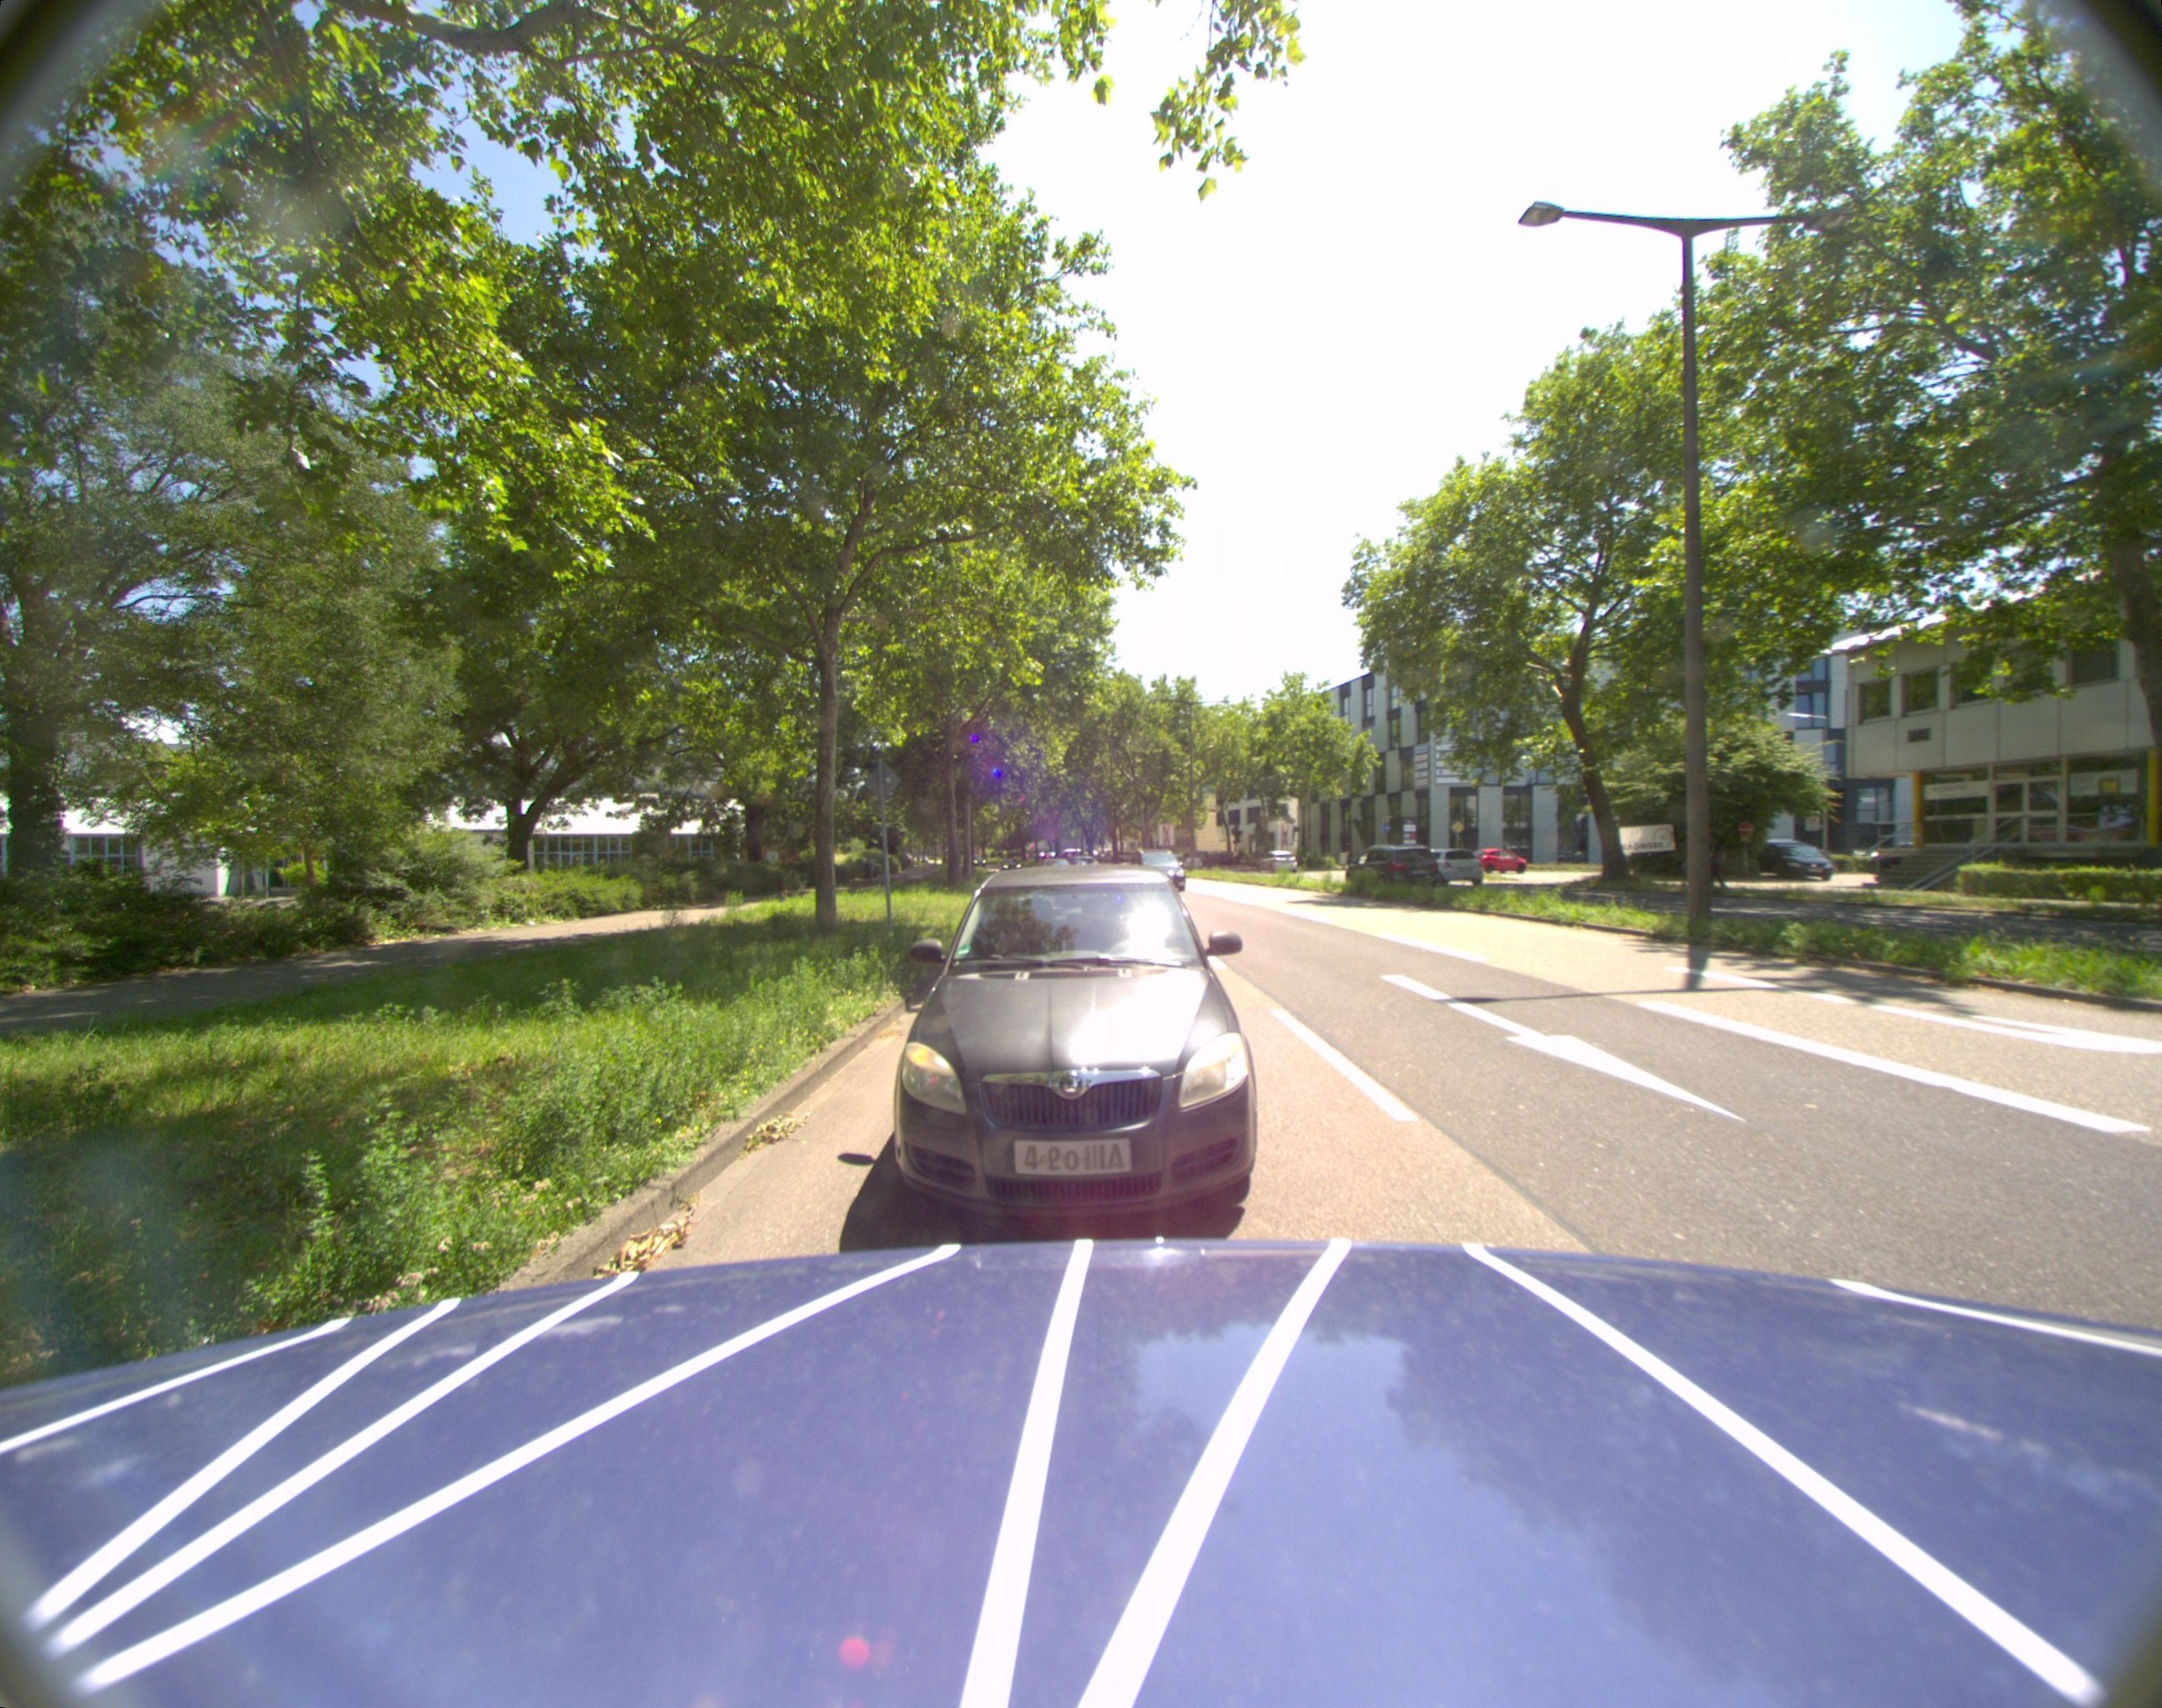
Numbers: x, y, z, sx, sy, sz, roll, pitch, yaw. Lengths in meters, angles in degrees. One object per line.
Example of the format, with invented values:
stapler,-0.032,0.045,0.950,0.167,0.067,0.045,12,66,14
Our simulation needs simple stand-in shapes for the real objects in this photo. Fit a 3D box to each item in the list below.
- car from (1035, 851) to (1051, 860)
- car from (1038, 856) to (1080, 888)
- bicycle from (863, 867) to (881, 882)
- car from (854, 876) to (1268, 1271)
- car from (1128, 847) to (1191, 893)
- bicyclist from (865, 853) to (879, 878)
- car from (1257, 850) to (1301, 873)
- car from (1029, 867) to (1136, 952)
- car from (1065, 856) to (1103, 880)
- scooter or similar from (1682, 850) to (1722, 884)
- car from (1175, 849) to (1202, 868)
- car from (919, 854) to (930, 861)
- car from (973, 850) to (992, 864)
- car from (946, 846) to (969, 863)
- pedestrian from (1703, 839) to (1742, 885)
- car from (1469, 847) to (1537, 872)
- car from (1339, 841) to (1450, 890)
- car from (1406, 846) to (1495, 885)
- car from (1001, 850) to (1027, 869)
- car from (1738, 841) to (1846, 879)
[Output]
car,-6.666,0.211,131.808,1.956,1.600,3.994,-1,0,-16
car,-1.044,0.845,37.398,1.878,1.448,3.786,-2,0,1
bicycle,-11.708,1.147,42.606,0.465,0.760,1.668,-1,0,1
car,-0.056,0.954,5.025,1.654,1.453,3.865,-1,0,1
car,3.186,0.625,31.749,1.859,1.745,4.647,-1,0,-3
bicyclist,-11.707,0.643,42.572,0.600,1.331,0.666,-1,1,0
car,13.222,0.483,50.861,1.756,1.435,3.671,-1,0,-4
car,0.054,0.972,14.793,1.791,1.325,3.742,-2,0,1
car,0.146,0.839,46.991,1.624,1.437,3.648,-1,0,-11
scooter or similar,21.847,0.450,26.735,0.680,1.157,0.859,-1,1,-3
car,8.783,0.328,62.248,1.537,1.519,2.853,-1,0,-5
car,-31.175,0.627,151.272,1.511,1.379,3.421,-1,0,-25
car,-13.599,0.423,104.569,2.001,1.783,3.995,-1,0,-15
car,-20.852,0.040,127.760,2.922,2.639,6.356,-1,1,-17
pedestrian,21.862,0.260,25.902,0.643,1.551,0.791,-1,1,-2
car,25.883,0.304,46.632,3.532,1.453,1.675,-1,0,-16
car,11.468,0.394,28.180,1.955,1.646,4.619,-1,0,-4
car,14.930,0.433,30.937,1.736,1.450,3.673,-1,0,-2
car,-6.682,0.524,74.989,2.001,1.871,3.995,-1,0,-13
car,32.822,0.246,35.194,1.819,1.638,3.528,-2,1,4
